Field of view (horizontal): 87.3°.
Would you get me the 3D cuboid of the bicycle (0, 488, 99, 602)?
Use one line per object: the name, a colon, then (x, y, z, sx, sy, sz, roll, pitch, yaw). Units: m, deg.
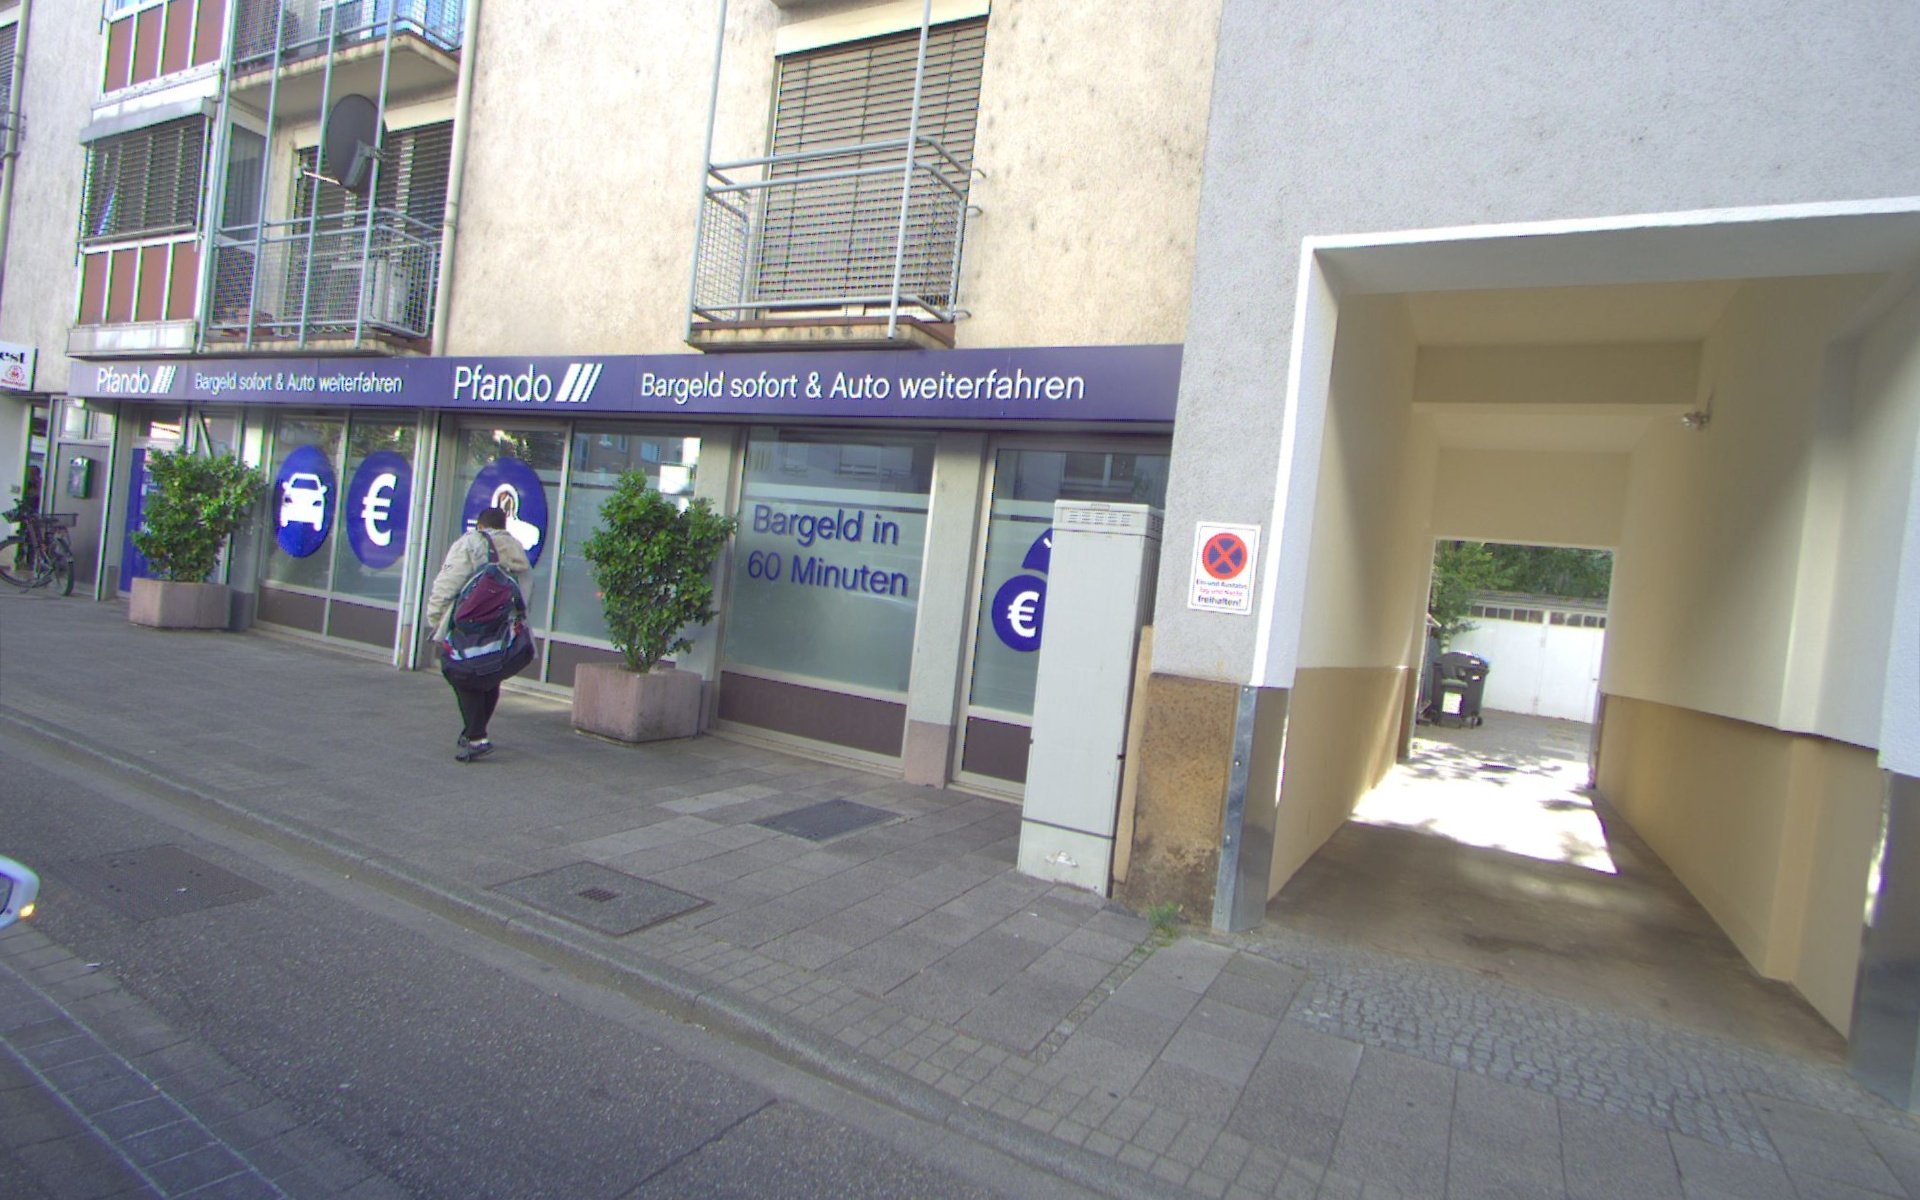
bicycle: (-11.849, -0.729, 12.877, 1.879, 1.280, 0.640, 7, 1, 32)

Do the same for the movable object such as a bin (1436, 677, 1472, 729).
movable object such as a bin: (9.556, 1.978, 19.452, 0.518, 0.922, 0.580, 7, 1, 29)

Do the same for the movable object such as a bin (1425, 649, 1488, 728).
movable object such as a bin: (10.107, 1.785, 20.456, 0.945, 1.426, 1.598, 7, 1, 29)

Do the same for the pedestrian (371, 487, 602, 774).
pedestrian: (-2.949, 0.169, 6.304, 0.853, 1.593, 0.874, 8, 3, 29)
